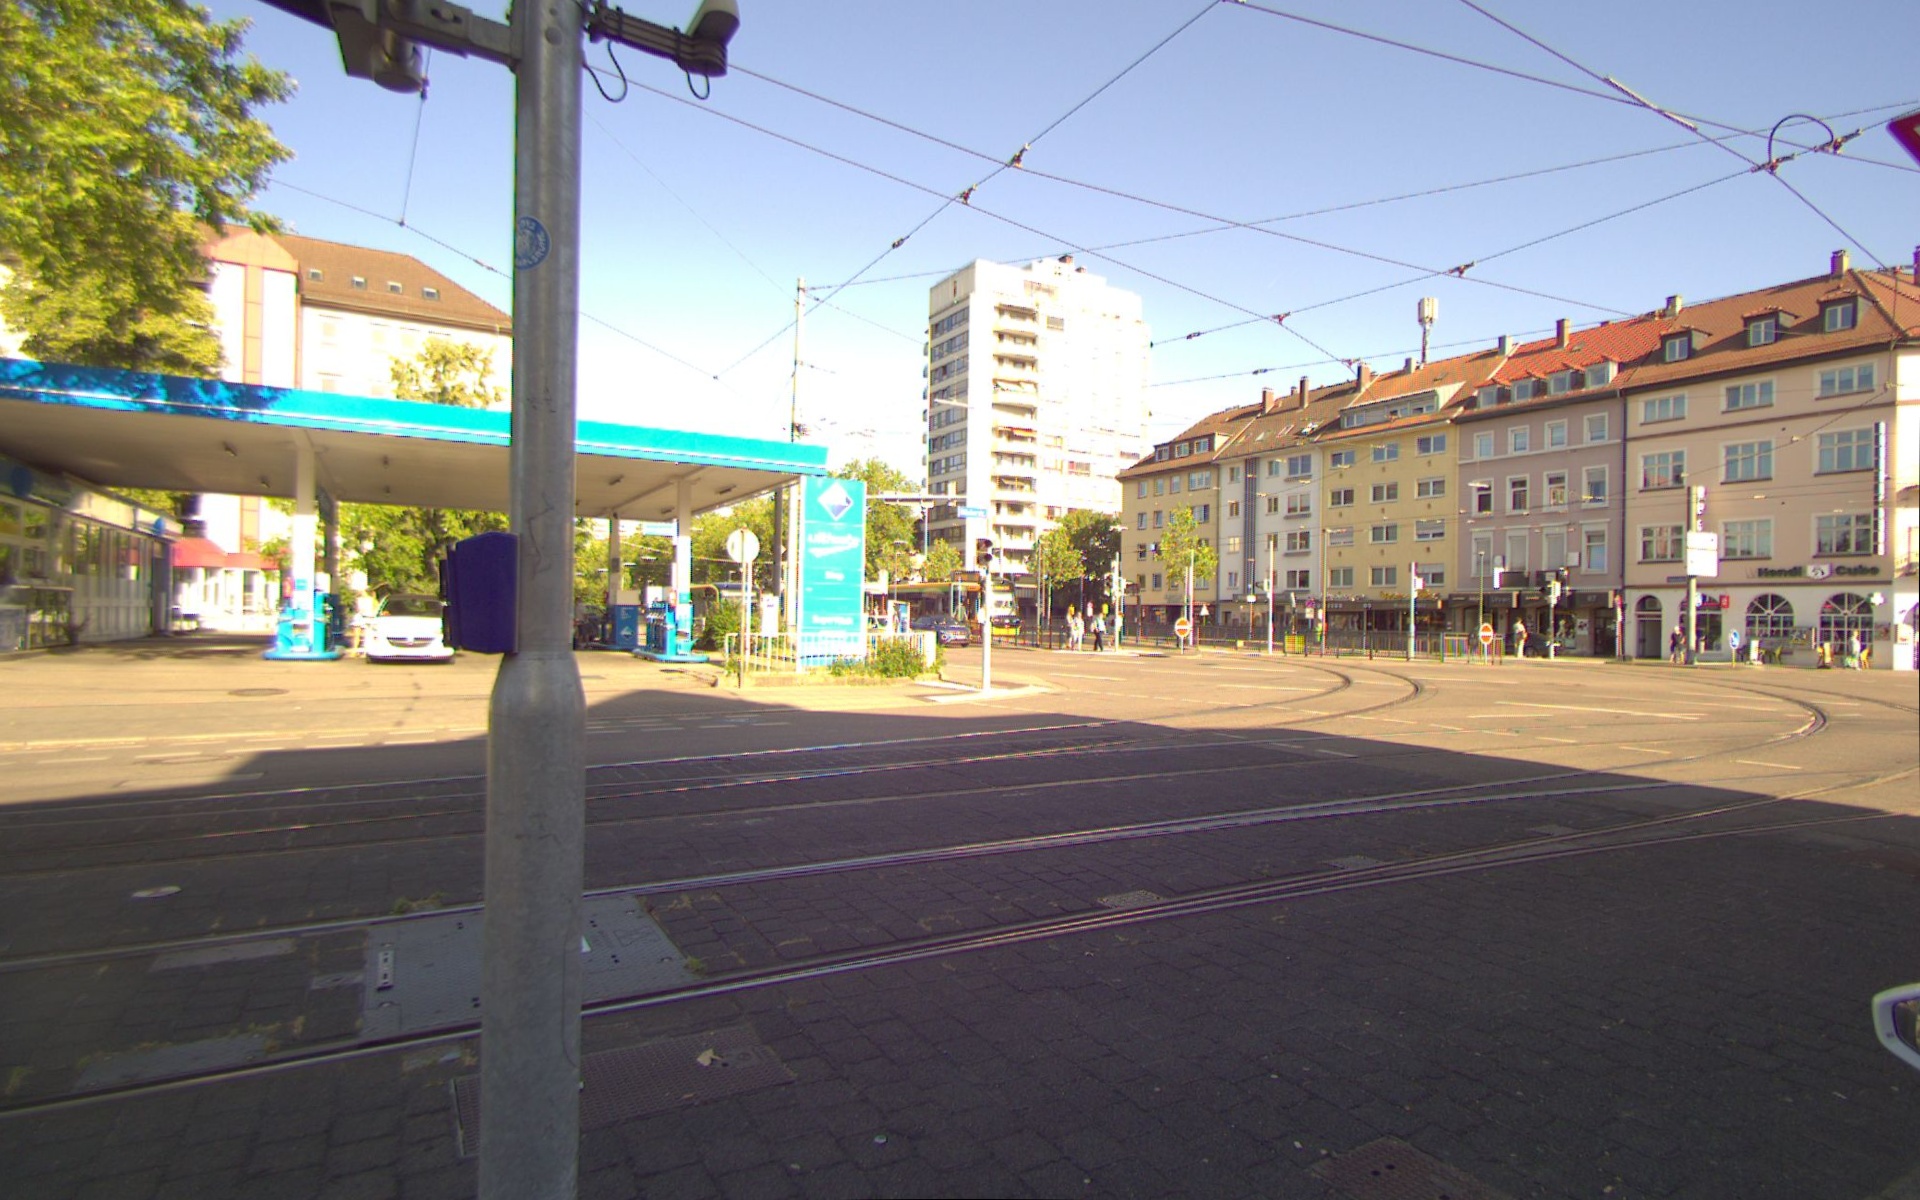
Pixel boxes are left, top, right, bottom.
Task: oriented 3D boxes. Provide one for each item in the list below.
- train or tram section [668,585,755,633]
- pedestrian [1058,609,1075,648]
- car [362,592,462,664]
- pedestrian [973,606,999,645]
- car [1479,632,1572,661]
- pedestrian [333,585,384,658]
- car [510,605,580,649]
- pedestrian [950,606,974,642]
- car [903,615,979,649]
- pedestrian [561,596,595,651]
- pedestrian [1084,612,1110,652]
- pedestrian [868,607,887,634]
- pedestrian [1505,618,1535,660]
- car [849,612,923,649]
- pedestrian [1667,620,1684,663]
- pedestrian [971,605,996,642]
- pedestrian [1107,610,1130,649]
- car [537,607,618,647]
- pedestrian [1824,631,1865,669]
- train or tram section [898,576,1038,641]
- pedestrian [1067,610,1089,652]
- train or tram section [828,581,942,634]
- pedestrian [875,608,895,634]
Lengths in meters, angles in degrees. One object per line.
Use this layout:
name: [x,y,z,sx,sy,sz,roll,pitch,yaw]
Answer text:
train or tram section: [-15.029,0.455,60.043,2.233,2.627,10.398,2,0,-30]
pedestrian: [4.673,1.247,44.247,0.491,1.721,0.553,1,-1,-33]
car: [-12.271,0.606,22.437,1.773,1.461,3.968,2,-1,-30]
pedestrian: [1.239,1.230,48.541,0.902,1.826,0.887,1,-1,-33]
car: [30.776,2.499,54.719,1.980,1.483,3.962,1,-1,-34]
pedestrian: [-13.900,0.504,23.239,0.634,1.652,0.813,1,-1,4]
car: [-13.501,0.865,32.581,1.752,1.332,3.520,1,-1,-28]
pedestrian: [0.080,1.246,52.479,0.902,1.826,0.887,1,-1,-33]
car: [-0.957,1.494,48.352,1.937,1.475,4.077,1,0,-30]
pedestrian: [-12.863,0.788,33.828,0.895,1.826,0.894,1,-1,-10]
pedestrian: [5.673,1.318,41.713,0.791,1.646,0.706,1,-1,-33]
pedestrian: [-5.089,1.268,61.941,0.902,1.646,0.887,1,-1,-33]
pedestrian: [24.497,1.697,43.959,0.801,1.842,0.871,1,-1,-29]
car: [-3.505,1.396,46.810,1.976,1.615,3.970,1,-1,-29]
pedestrian: [34.212,1.986,48.025,0.498,2.040,0.507,1,-1,-27]
pedestrian: [1.175,1.191,50.129,0.902,1.826,0.887,1,-1,-33]
pedestrian: [7.144,1.335,45.210,0.773,1.721,0.692,1,-1,-33]
car: [-17.202,1.214,45.386,1.960,1.685,4.001,1,-1,2]
pedestrian: [38.855,2.199,44.119,1.029,1.612,1.061,1,-1,-28]
train or tram section: [0.231,0.521,58.968,3.252,3.459,10.157,1,-1,-33]
pedestrian: [4.951,1.284,42.091,0.549,1.721,0.740,1,-1,-33]
train or tram section: [-5.249,0.525,67.586,3.252,3.335,10.157,1,-1,-33]
pedestrian: [-4.712,1.322,62.995,0.902,1.646,0.887,1,-1,-33]
